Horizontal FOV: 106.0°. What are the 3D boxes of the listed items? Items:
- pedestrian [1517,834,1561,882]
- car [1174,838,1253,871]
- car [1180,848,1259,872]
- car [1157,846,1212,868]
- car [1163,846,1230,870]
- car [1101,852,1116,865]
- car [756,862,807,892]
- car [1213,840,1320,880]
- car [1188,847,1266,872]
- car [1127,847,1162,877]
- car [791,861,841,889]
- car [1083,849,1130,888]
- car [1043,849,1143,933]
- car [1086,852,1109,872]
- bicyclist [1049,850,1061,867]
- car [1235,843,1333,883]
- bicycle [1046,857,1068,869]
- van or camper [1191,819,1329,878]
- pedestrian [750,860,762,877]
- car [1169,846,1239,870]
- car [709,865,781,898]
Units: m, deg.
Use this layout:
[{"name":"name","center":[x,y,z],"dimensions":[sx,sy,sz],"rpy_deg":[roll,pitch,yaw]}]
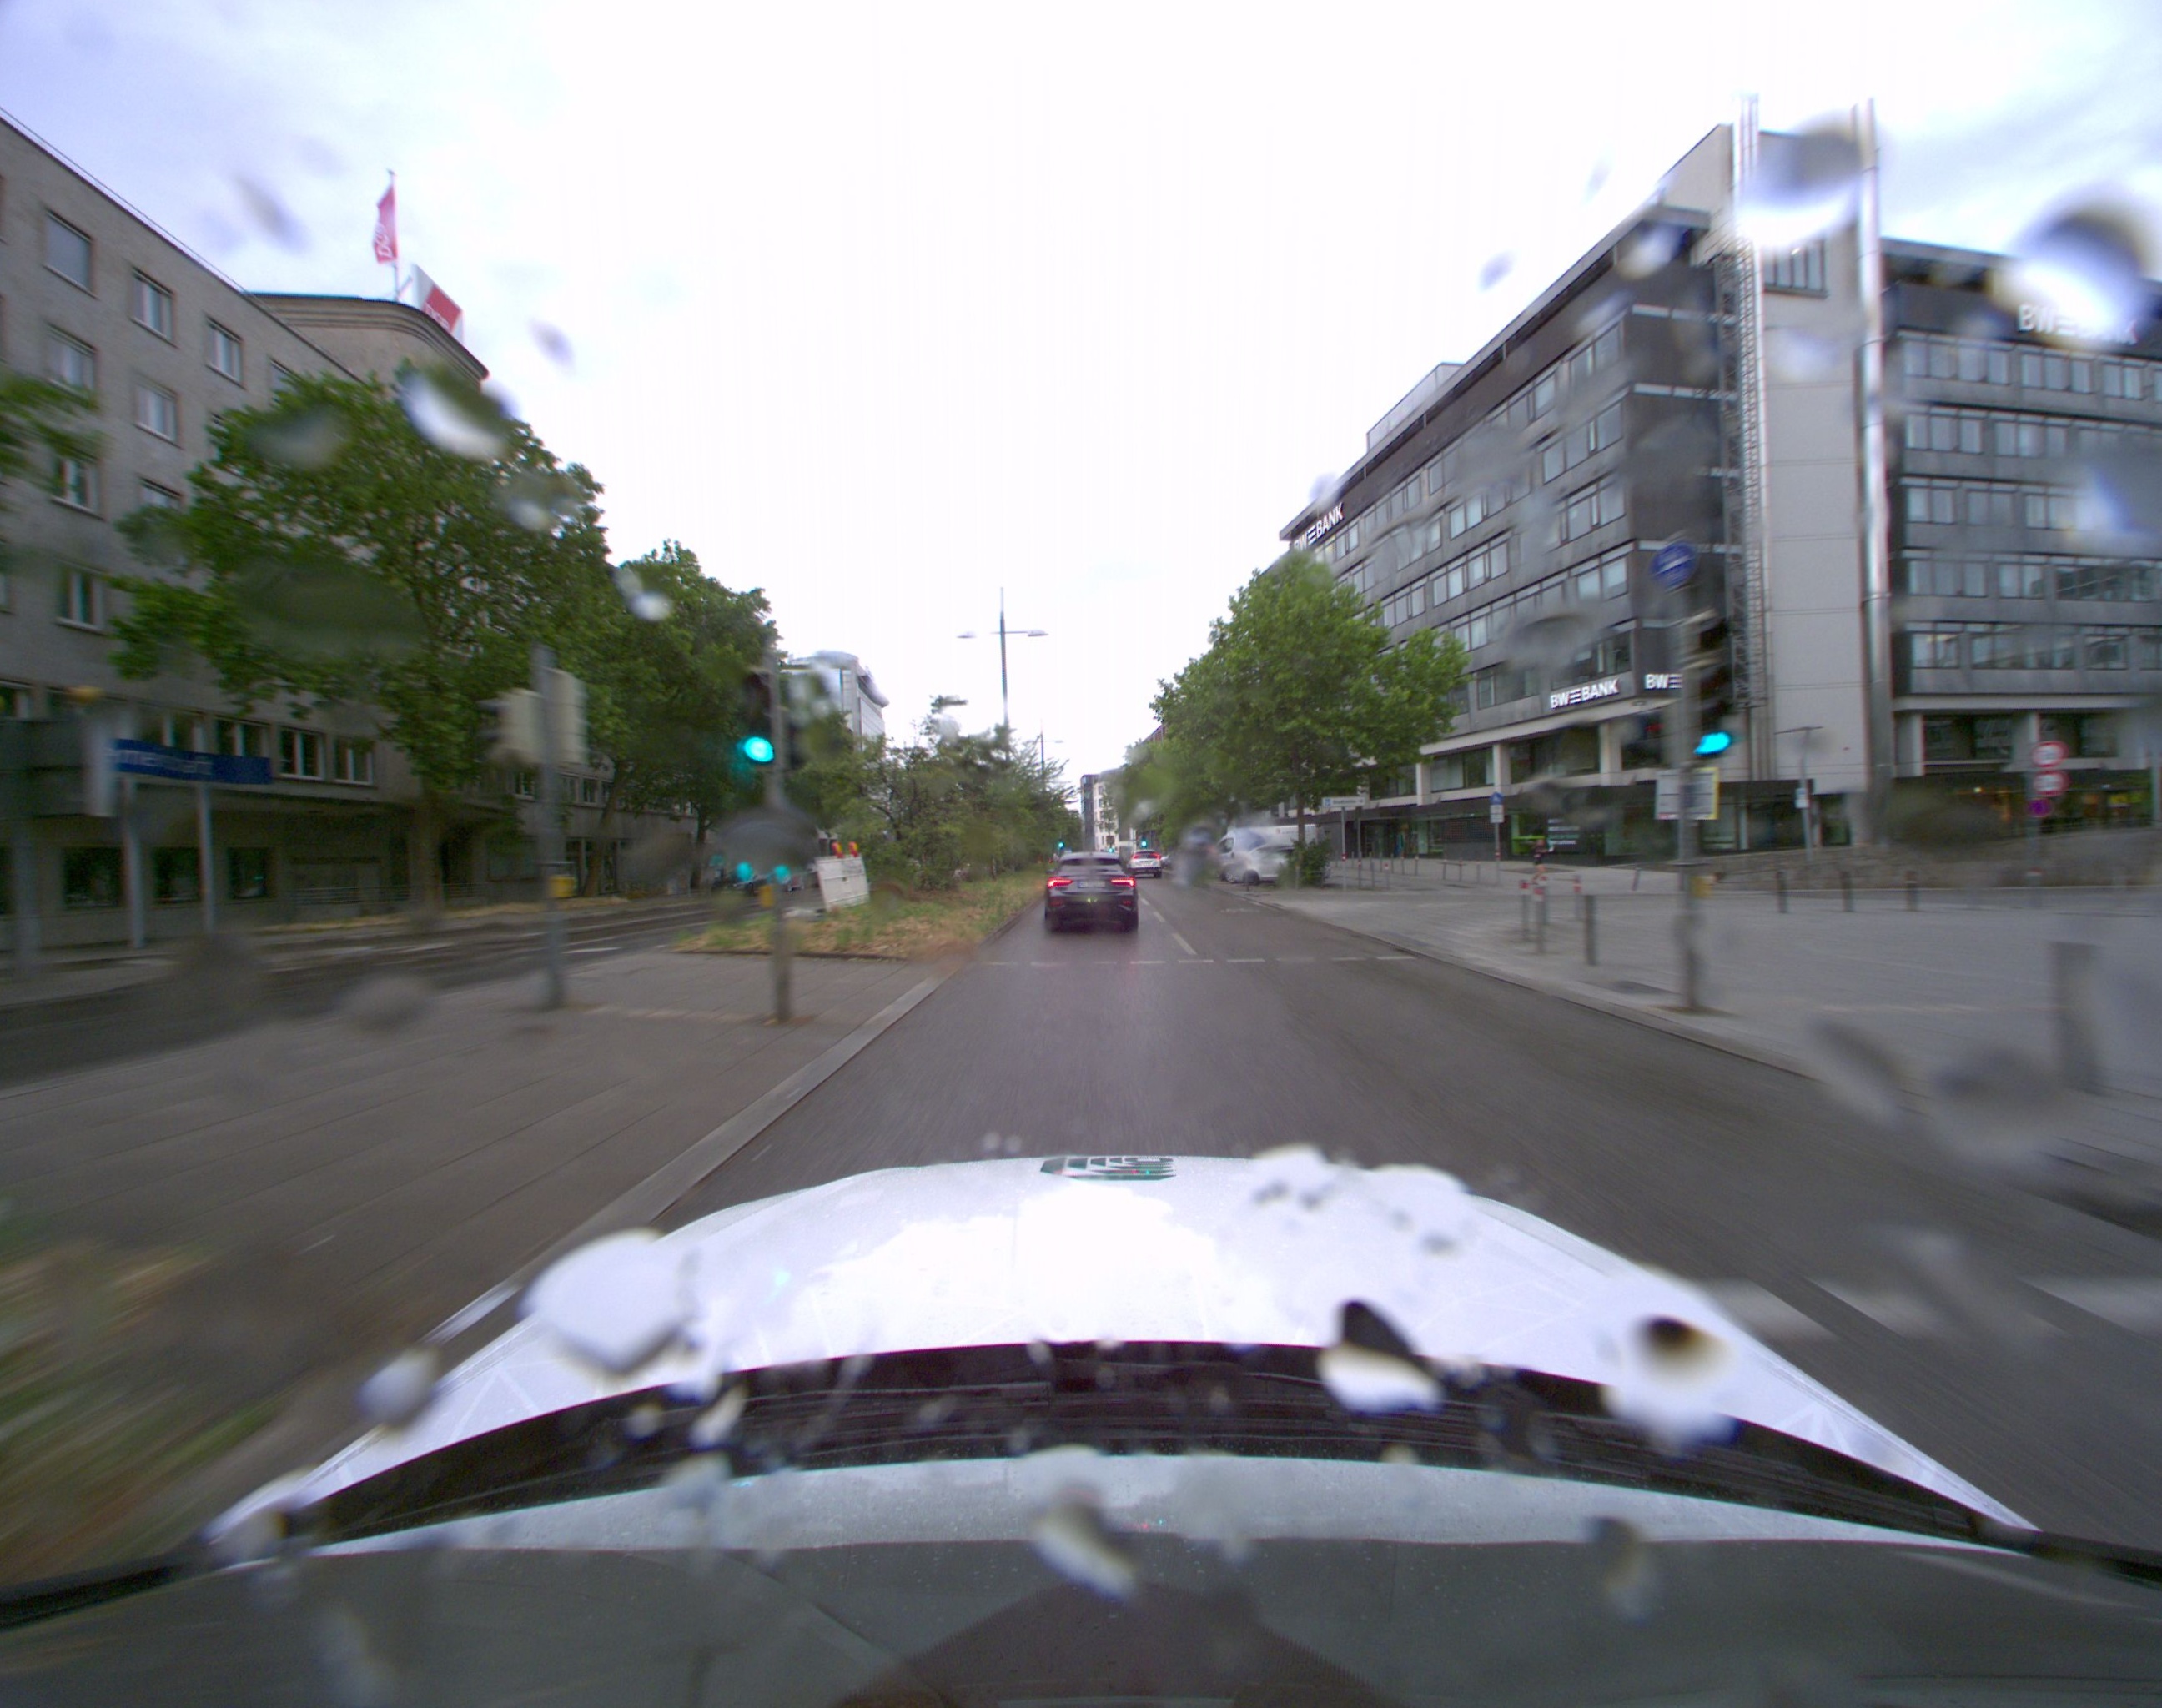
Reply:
[{"name":"pedestrian","center":[16.465,0.140,29.304],"dimensions":[0.804,1.696,1.185],"rpy_deg":[-1,0,-6]},{"name":"car","center":[9.040,0.030,55.564],"dimensions":[4.890,1.978,1.941],"rpy_deg":[-3,0,27]},{"name":"car","center":[8.941,0.400,52.726],"dimensions":[4.578,1.394,1.859],"rpy_deg":[-3,-1,30]},{"name":"car","center":[8.827,0.226,69.209],"dimensions":[4.177,1.669,1.850],"rpy_deg":[-3,0,28]},{"name":"car","center":[8.743,0.292,61.396],"dimensions":[4.738,1.534,1.877],"rpy_deg":[-3,0,15]},{"name":"car","center":[3.541,0.547,104.354],"dimensions":[1.842,1.523,4.040],"rpy_deg":[-1,0,2]},{"name":"car","center":[-17.481,1.323,47.683],"dimensions":[1.683,1.519,3.622],"rpy_deg":[-5,0,-3]},{"name":"car","center":[8.107,0.266,35.593],"dimensions":[4.216,1.667,1.829],"rpy_deg":[-1,0,27]},{"name":"car","center":[8.864,0.344,49.576],"dimensions":[4.324,1.436,1.772],"rpy_deg":[-2,0,27]},{"name":"car","center":[3.723,0.435,48.416],"dimensions":[1.842,1.669,4.040],"rpy_deg":[-1,0,2]},{"name":"car","center":[-18.079,1.365,55.755],"dimensions":[1.763,1.652,4.840],"rpy_deg":[-5,0,-1]},{"name":"car","center":[1.105,0.584,34.857],"dimensions":[1.842,1.523,4.040],"rpy_deg":[-1,0,2]},{"name":"car","center":[0.267,0.695,17.244],"dimensions":[1.843,1.523,4.039],"rpy_deg":[-1,0,1]},{"name":"car","center":[1.393,0.653,67.768],"dimensions":[1.842,1.523,4.040],"rpy_deg":[-1,0,2]},{"name":"bicyclist","center":[-2.633,0.468,83.166],"dimensions":[1.101,1.622,0.751],"rpy_deg":[1,-1,0]},{"name":"car","center":[8.207,0.358,32.825],"dimensions":[3.618,1.547,1.723],"rpy_deg":[-1,0,20]},{"name":"bicycle","center":[-2.436,0.893,83.153],"dimensions":[2.247,1.162,0.750],"rpy_deg":[1,-1,0]},{"name":"van or camper","center":[8.472,-0.213,38.774],"dimensions":[6.008,2.558,2.117],"rpy_deg":[-2,-1,28]},{"name":"pedestrian","center":[-32.457,1.477,81.301],"dimensions":[0.995,1.645,0.674],"rpy_deg":[-2,0,-13]},{"name":"car","center":[8.833,0.285,58.479],"dimensions":[4.512,1.507,1.880],"rpy_deg":[-3,0,26]},{"name":"car","center":[-17.414,1.403,42.480],"dimensions":[1.763,1.434,4.670],"rpy_deg":[-5,0,-1]}]
